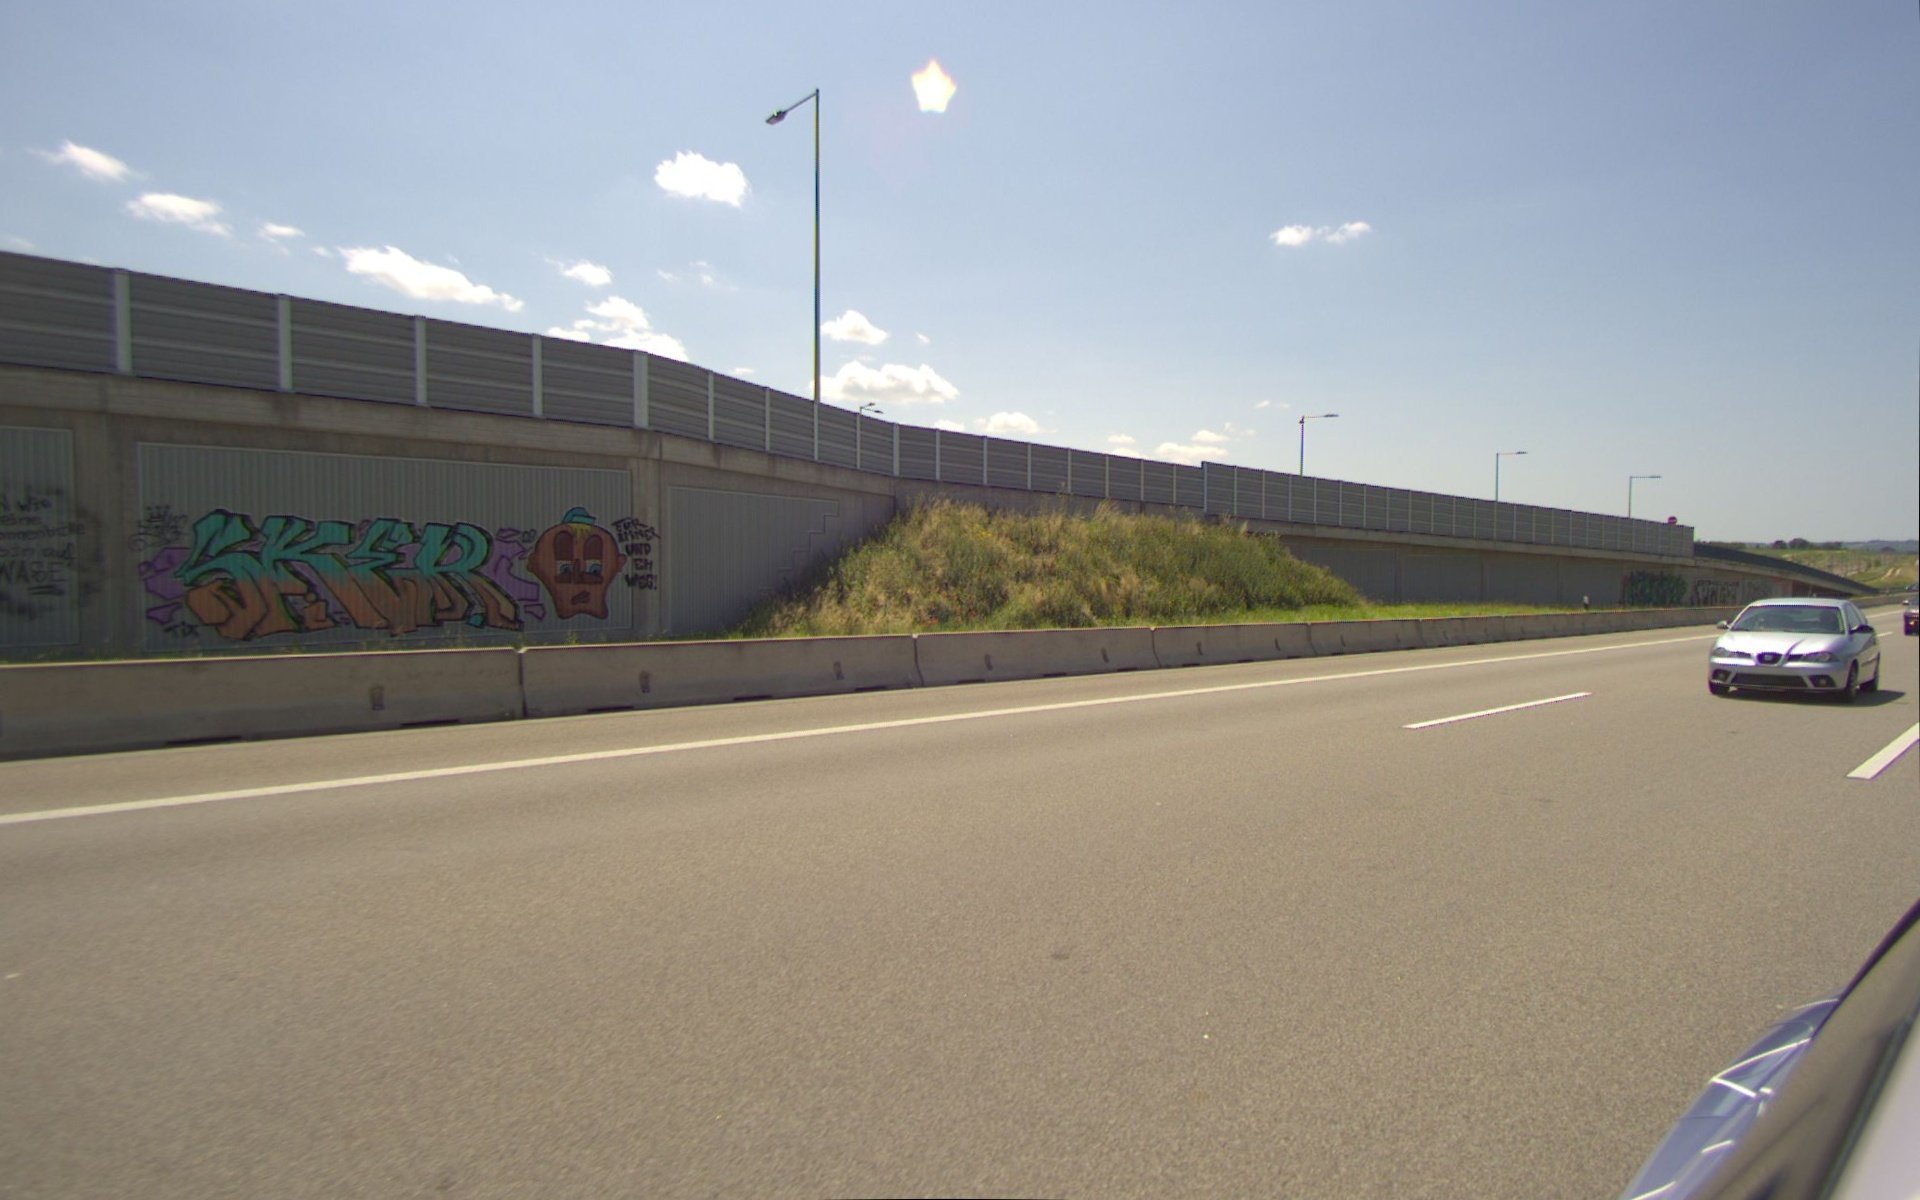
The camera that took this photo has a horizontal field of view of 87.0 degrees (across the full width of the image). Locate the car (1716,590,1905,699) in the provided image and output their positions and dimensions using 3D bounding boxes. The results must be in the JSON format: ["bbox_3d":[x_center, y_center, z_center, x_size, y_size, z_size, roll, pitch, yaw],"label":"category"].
[{"bbox_3d":[12.885,0.573,15.260,3.931,1.407,1.633,-1,1,-42],"label":"car"}]
